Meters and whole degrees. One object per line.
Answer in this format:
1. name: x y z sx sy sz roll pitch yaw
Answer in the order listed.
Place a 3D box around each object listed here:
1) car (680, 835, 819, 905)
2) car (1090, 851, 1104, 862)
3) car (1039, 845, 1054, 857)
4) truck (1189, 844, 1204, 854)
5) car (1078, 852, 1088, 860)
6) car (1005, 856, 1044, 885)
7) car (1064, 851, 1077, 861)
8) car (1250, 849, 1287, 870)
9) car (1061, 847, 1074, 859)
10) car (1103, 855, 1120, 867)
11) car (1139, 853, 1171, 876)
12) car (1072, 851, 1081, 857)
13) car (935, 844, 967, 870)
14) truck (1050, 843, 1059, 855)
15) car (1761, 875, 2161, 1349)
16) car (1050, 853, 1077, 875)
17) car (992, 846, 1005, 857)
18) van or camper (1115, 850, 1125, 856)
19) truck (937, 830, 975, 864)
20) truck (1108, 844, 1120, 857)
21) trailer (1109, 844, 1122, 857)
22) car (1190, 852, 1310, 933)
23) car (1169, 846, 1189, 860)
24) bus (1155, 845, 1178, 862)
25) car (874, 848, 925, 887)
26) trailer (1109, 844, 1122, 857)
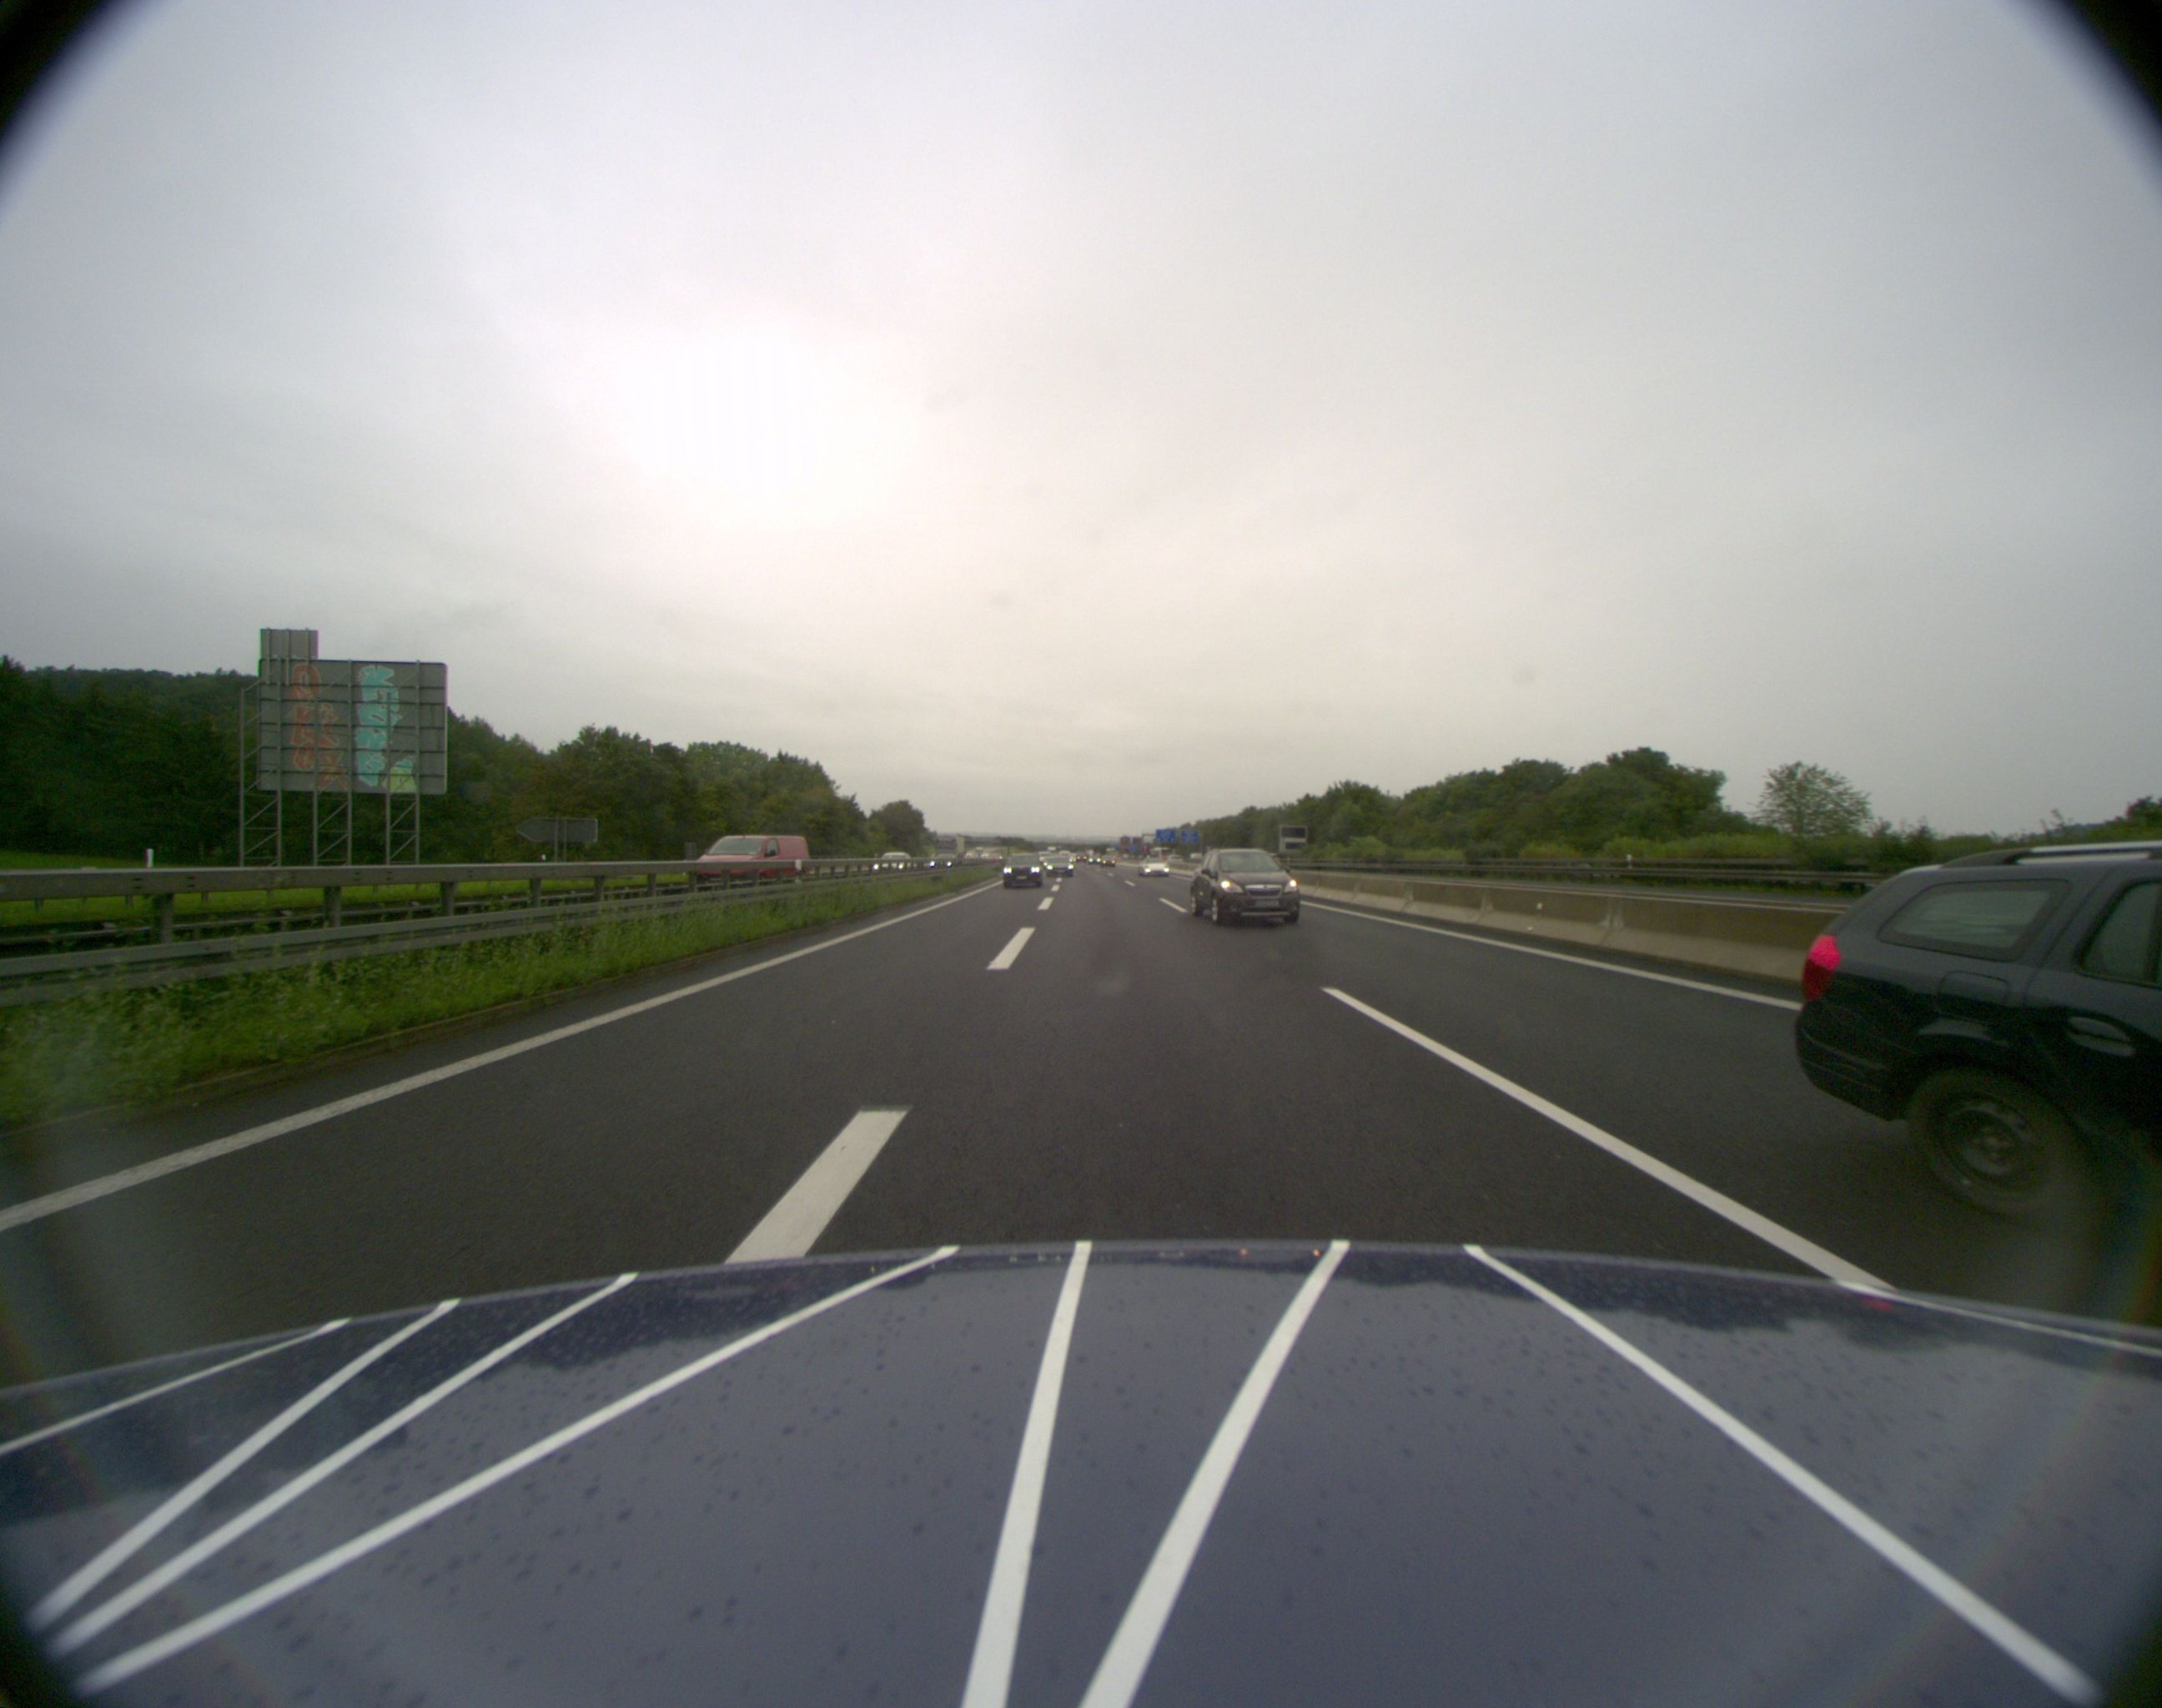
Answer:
1. car: -10.365 0.437 24.306 2.129 2.002 5.076 0 1 1
2. car: 2.446 0.374 118.613 1.782 1.669 4.565 0 1 -3
3. car: -4.845 -0.466 106.229 1.975 1.674 3.998 0 1 -4
4. truck: 27.314 -1.178 180.088 2.031 2.229 6.155 0 0 -7
5. car: 0.355 0.341 149.302 1.726 1.481 4.565 0 1 -2
6. car: -2.898 0.840 39.912 1.867 1.349 4.565 0 1 -2
7. car: -1.692 0.347 122.644 1.920 1.481 4.565 0 1 -4
8. car: 15.520 0.399 63.047 1.896 1.640 4.602 0 1 0
9. car: -2.370 -0.197 129.762 2.017 1.994 4.565 0 1 -4
10. car: 3.735 0.858 94.502 1.726 1.397 4.565 0 1 -2
11. car: 5.190 0.682 53.634 1.726 1.481 4.566 0 1 -1
12. car: -1.042 0.013 173.647 1.726 1.481 4.565 0 1 -4
13. car: -10.359 0.227 60.768 1.752 2.002 4.498 0 1 1
14. truck: -8.648 -1.583 247.450 2.799 3.878 10.025 0 1 -1
15. car: 4.351 0.856 1.628 1.726 1.480 4.567 0 0 0
16. car: -1.324 0.705 56.468 1.886 1.519 3.999 0 1 -2
17. car: -14.982 -0.477 137.732 1.752 2.002 4.498 0 1 1
18. van or camper: 8.550 -0.227 167.191 1.752 1.439 4.584 0 1 -1
19. truck: -15.245 -0.907 93.143 2.798 3.878 10.027 0 1 1
20. truck: 9.522 -1.019 219.759 2.895 3.727 5.942 0 1 -2
21. trailer: 9.685 -0.971 216.011 2.911 3.727 8.924 0 1 -2
22. car: 3.687 0.769 17.253 1.813 1.571 3.834 0 1 -1
23. car: 12.468 -0.156 97.228 1.999 1.701 4.302 0 1 0
24. bus: 14.987 -0.169 133.928 2.705 2.941 11.895 0 1 -1
25. car: -10.050 0.712 42.331 1.752 2.002 4.497 0 1 0
26. trailer: 9.685 -0.971 216.011 2.911 3.727 8.924 0 1 -2
